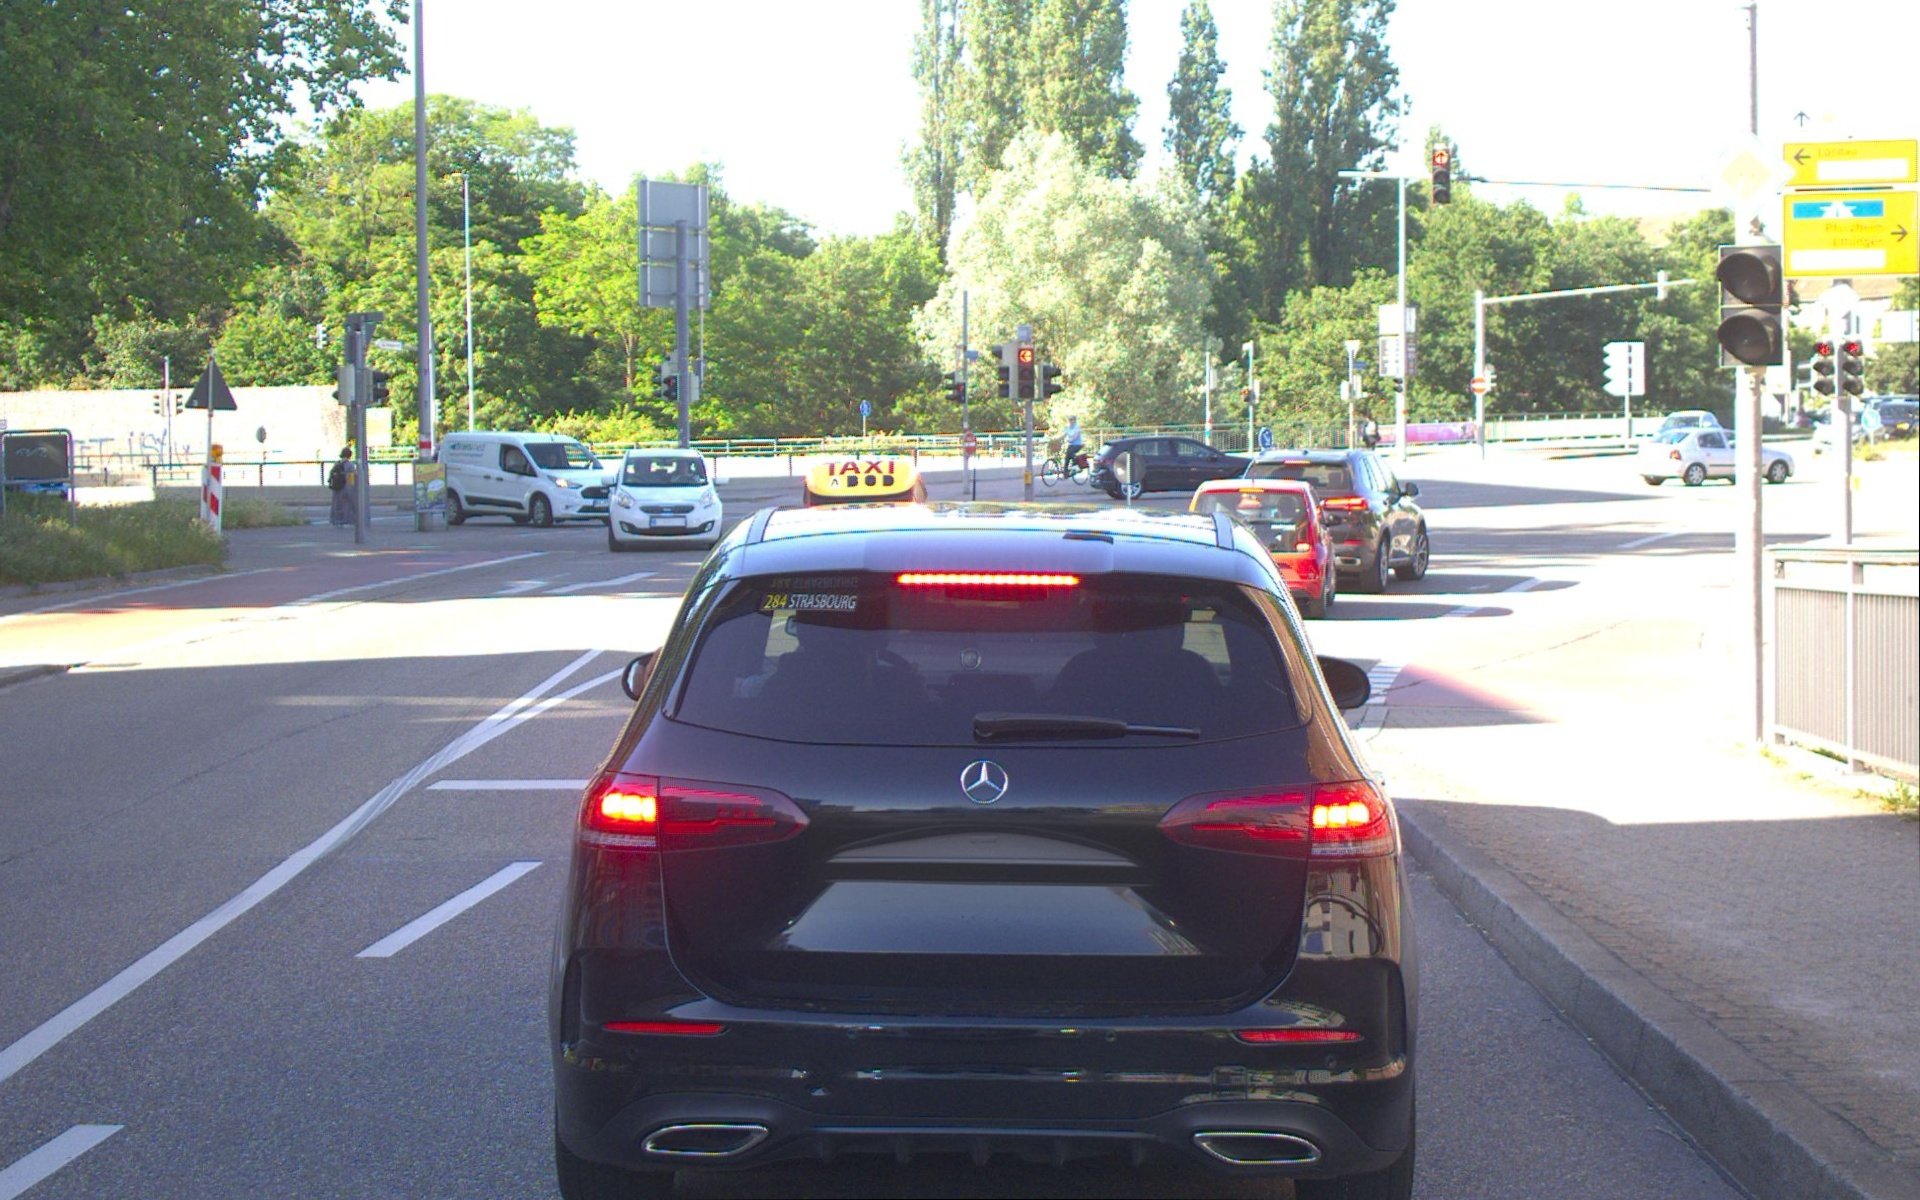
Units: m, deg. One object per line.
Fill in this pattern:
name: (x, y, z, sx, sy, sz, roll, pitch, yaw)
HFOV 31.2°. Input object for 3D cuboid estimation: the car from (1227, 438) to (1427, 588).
car: (4.707, -1.140, 43.587, 1.723, 1.806, 4.294, 0, 2, 17)

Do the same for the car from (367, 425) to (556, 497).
car: (-11.609, -3.233, 80.199, 3.988, 1.624, 1.891, 0, 2, 6)

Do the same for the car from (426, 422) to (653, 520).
car: (-8.169, -2.481, 66.505, 1.919, 1.788, 4.897, -4, 4, -40)

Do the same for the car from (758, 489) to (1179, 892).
car: (0.072, 0.309, 15.404, 1.640, 1.524, 3.474, -1, 3, 1)

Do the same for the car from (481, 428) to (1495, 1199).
car: (0.015, 0.435, 8.432, 1.877, 1.607, 4.001, 1, 2, -1)

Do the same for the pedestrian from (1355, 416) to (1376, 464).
pedestrian: (13.671, -5.399, 115.914, 0.451, 1.580, 0.500, 1, 3, 40)

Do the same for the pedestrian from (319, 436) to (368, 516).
pedestrian: (-11.903, -2.391, 66.402, 0.705, 1.520, 0.743, 1, 2, 10)

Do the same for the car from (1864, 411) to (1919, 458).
car: (32.791, -5.723, 118.519, 1.882, 1.572, 3.992, 1, 4, 35)

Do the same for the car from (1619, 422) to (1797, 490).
car: (18.317, -3.534, 84.161, 3.987, 1.624, 1.891, -2, 3, -29)

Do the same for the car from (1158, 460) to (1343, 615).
car: (3.247, -0.727, 37.916, 1.722, 1.516, 3.485, 0, 4, 10)

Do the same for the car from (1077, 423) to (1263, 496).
car: (4.869, -3.260, 79.795, 3.986, 1.624, 1.892, -1, 2, -9)

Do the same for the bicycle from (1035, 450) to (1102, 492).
bicycle: (2.847, -3.386, 90.227, 0.527, 1.046, 1.985, 1, 3, 44)

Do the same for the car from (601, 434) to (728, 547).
car: (-4.703, -1.794, 55.172, 1.777, 1.629, 4.001, -2, 4, -2)

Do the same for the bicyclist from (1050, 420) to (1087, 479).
bicyclist: (2.842, -3.949, 90.191, 0.527, 1.545, 0.805, 1, 3, 44)

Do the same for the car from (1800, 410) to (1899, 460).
car: (29.335, -5.442, 113.343, 1.882, 1.572, 3.992, 1, 4, 35)

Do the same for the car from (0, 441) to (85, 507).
car: (-24.542, -3.205, 87.354, 4.404, 1.624, 1.888, 1, 3, 31)
